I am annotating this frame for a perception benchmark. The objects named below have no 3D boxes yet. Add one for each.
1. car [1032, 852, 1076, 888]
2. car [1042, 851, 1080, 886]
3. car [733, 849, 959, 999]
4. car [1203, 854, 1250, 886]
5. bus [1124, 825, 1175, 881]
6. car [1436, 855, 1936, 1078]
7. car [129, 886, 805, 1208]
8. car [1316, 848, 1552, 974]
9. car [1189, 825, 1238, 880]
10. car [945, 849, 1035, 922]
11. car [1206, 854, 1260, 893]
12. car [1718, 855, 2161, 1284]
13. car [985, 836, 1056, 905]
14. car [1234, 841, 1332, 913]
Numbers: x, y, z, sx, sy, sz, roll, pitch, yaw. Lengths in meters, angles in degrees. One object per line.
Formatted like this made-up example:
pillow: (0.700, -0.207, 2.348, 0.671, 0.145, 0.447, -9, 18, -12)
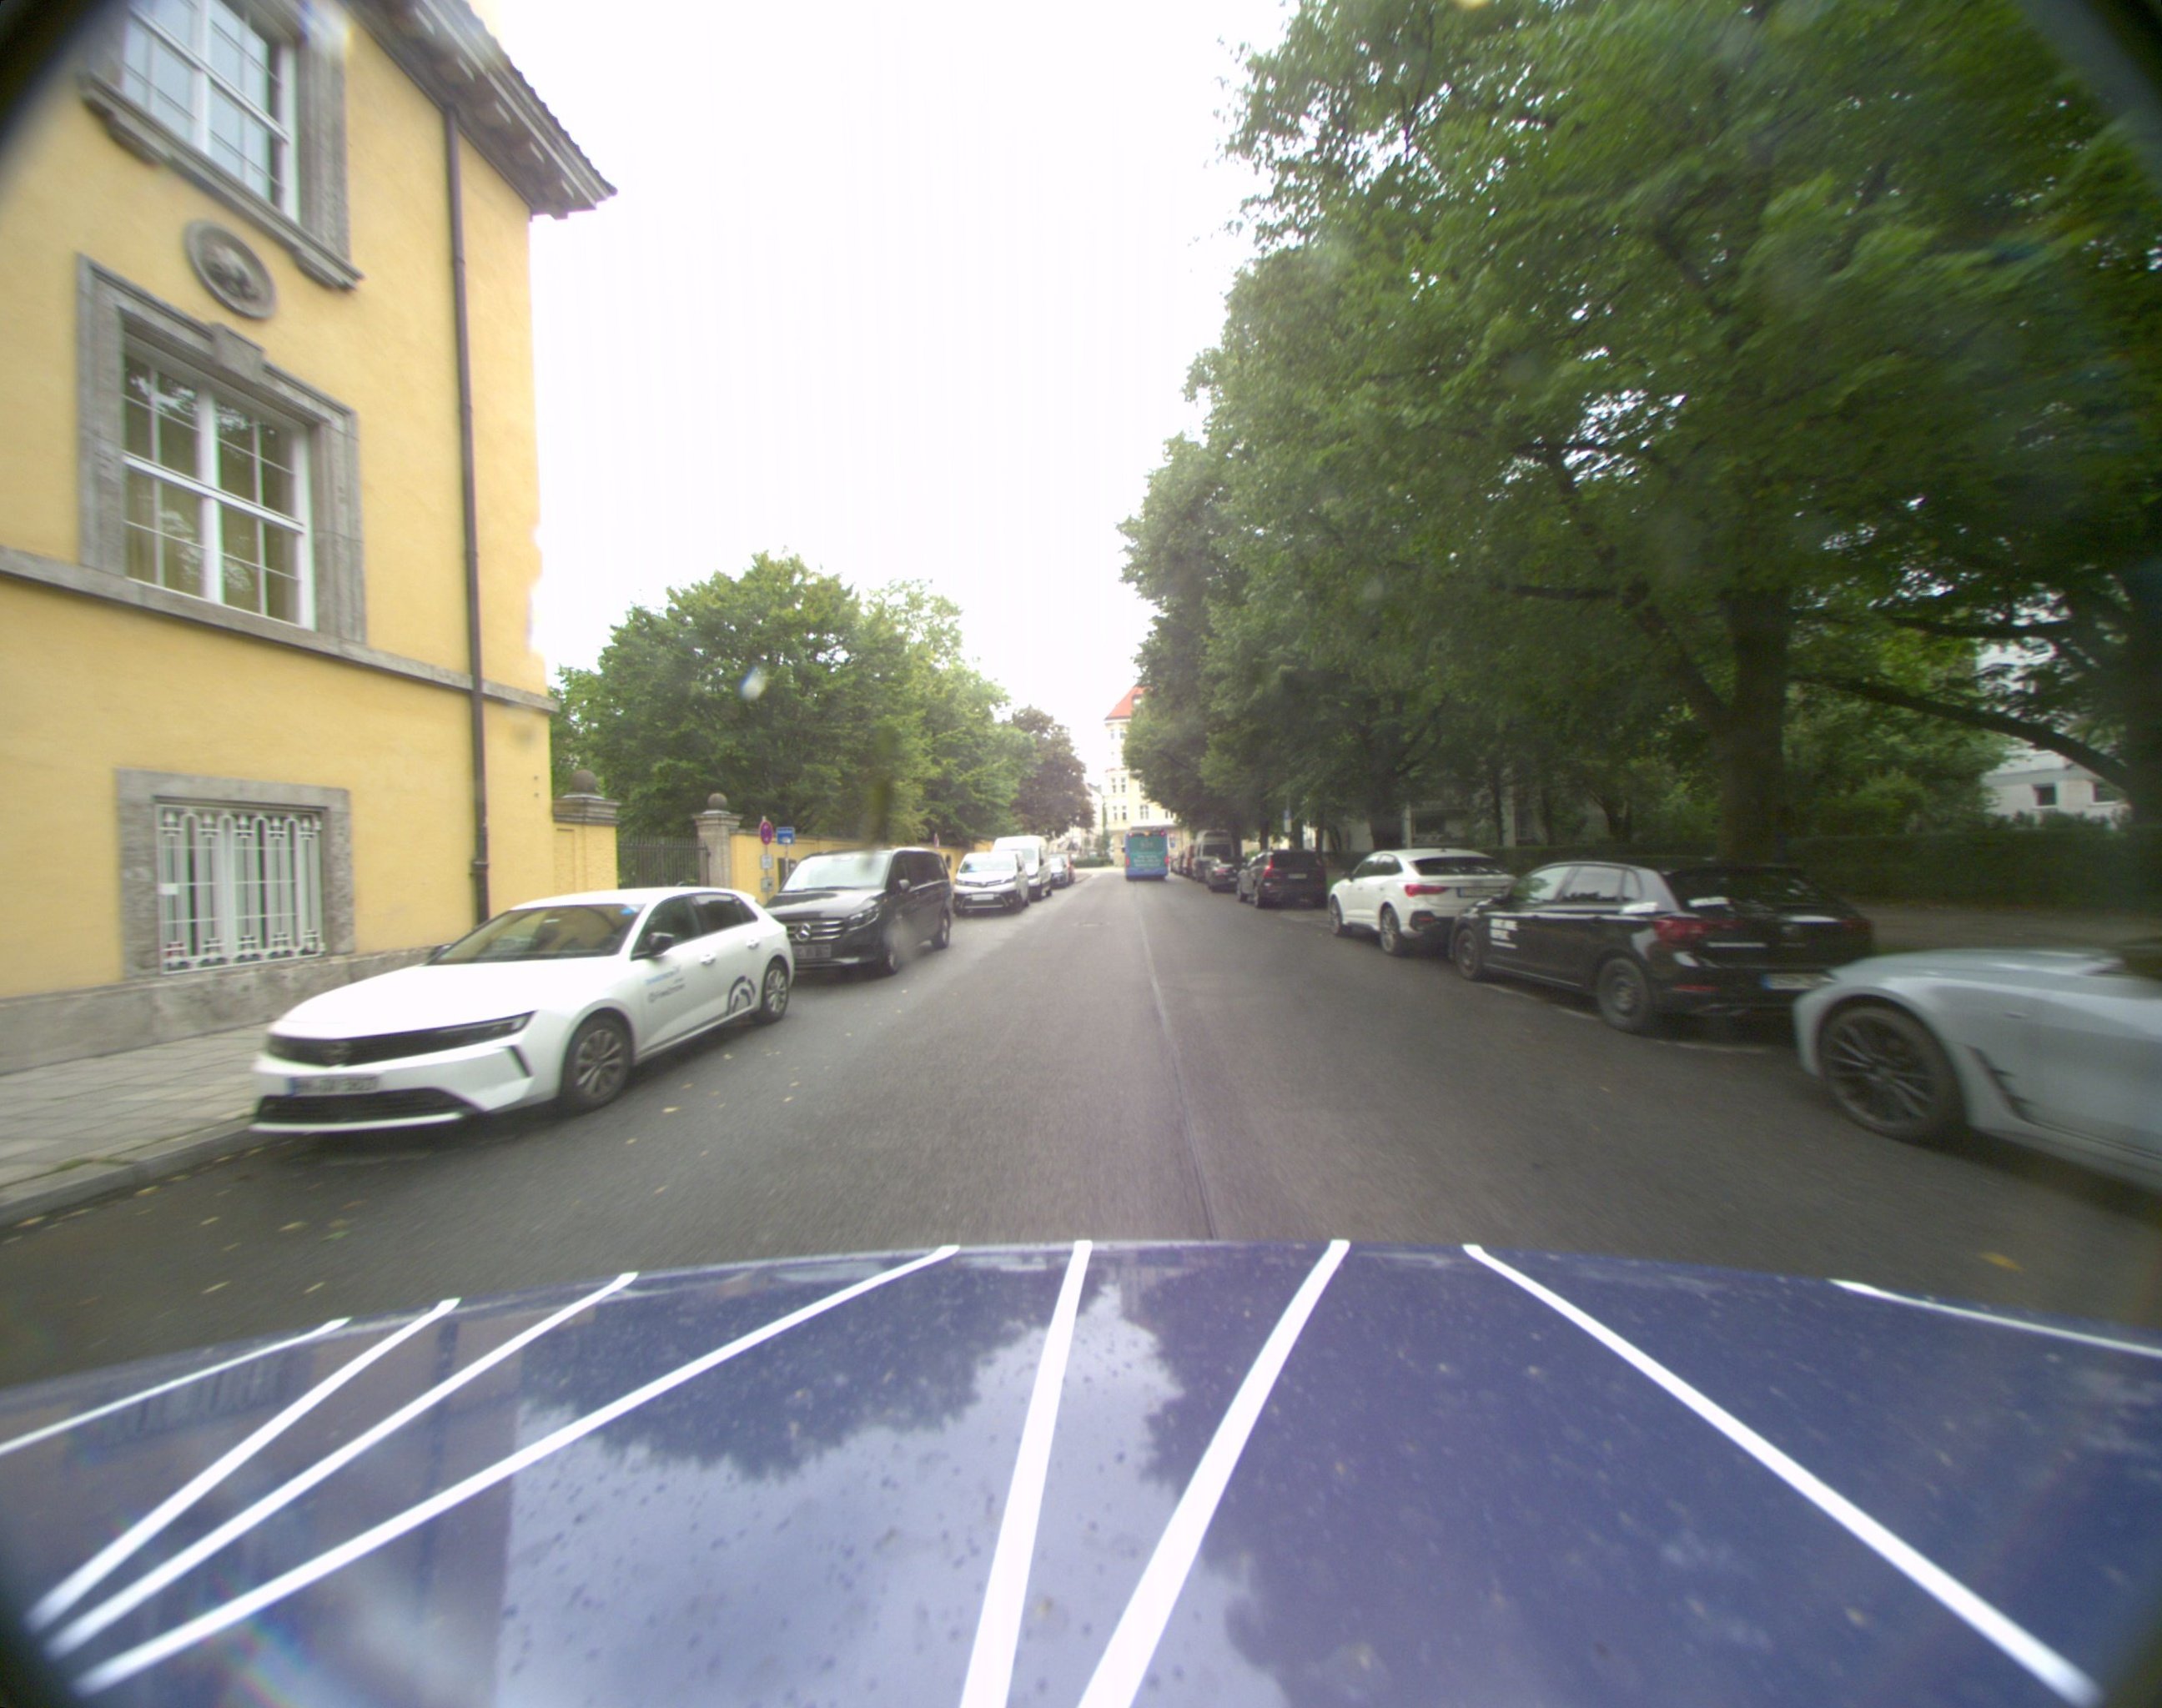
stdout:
car: (-1.399, 0.823, 41.317, 1.863, 1.731, 4.603, -3, 0, 3)
car: (-1.148, 0.830, 46.766, 1.863, 1.956, 5.446, -2, 0, 3)
car: (-3.437, 0.890, 12.309, 1.875, 1.858, 4.987, -2, 1, 2)
car: (7.113, 0.734, 37.526, 1.794, 1.429, 4.580, -2, 0, 5)
bus: (4.552, -0.247, 54.275, 2.866, 3.221, 18.425, -2, 1, 3)
car: (5.196, 0.798, 7.378, 1.676, 1.461, 4.104, -2, 1, 2)
car: (-4.066, 1.131, 6.189, 1.875, 1.449, 4.255, -2, 1, 2)
car: (5.348, 0.733, 12.279, 1.788, 1.588, 4.584, -2, 1, 2)
car: (7.517, -0.142, 43.775, 1.949, 2.838, 6.236, -2, 1, 3)
car: (-2.687, 0.864, 23.699, 2.018, 1.895, 5.163, -4, 0, 1)
car: (6.237, 0.751, 31.558, 1.793, 1.429, 4.553, -2, 0, 7)
car: (4.776, 0.807, 2.251, 1.813, 1.461, 4.998, -2, 1, 4)
car: (-2.329, 0.547, 30.918, 2.100, 2.473, 5.739, -2, 1, 3)
car: (5.750, 0.574, 22.162, 1.788, 1.866, 4.548, -1, 1, 2)
